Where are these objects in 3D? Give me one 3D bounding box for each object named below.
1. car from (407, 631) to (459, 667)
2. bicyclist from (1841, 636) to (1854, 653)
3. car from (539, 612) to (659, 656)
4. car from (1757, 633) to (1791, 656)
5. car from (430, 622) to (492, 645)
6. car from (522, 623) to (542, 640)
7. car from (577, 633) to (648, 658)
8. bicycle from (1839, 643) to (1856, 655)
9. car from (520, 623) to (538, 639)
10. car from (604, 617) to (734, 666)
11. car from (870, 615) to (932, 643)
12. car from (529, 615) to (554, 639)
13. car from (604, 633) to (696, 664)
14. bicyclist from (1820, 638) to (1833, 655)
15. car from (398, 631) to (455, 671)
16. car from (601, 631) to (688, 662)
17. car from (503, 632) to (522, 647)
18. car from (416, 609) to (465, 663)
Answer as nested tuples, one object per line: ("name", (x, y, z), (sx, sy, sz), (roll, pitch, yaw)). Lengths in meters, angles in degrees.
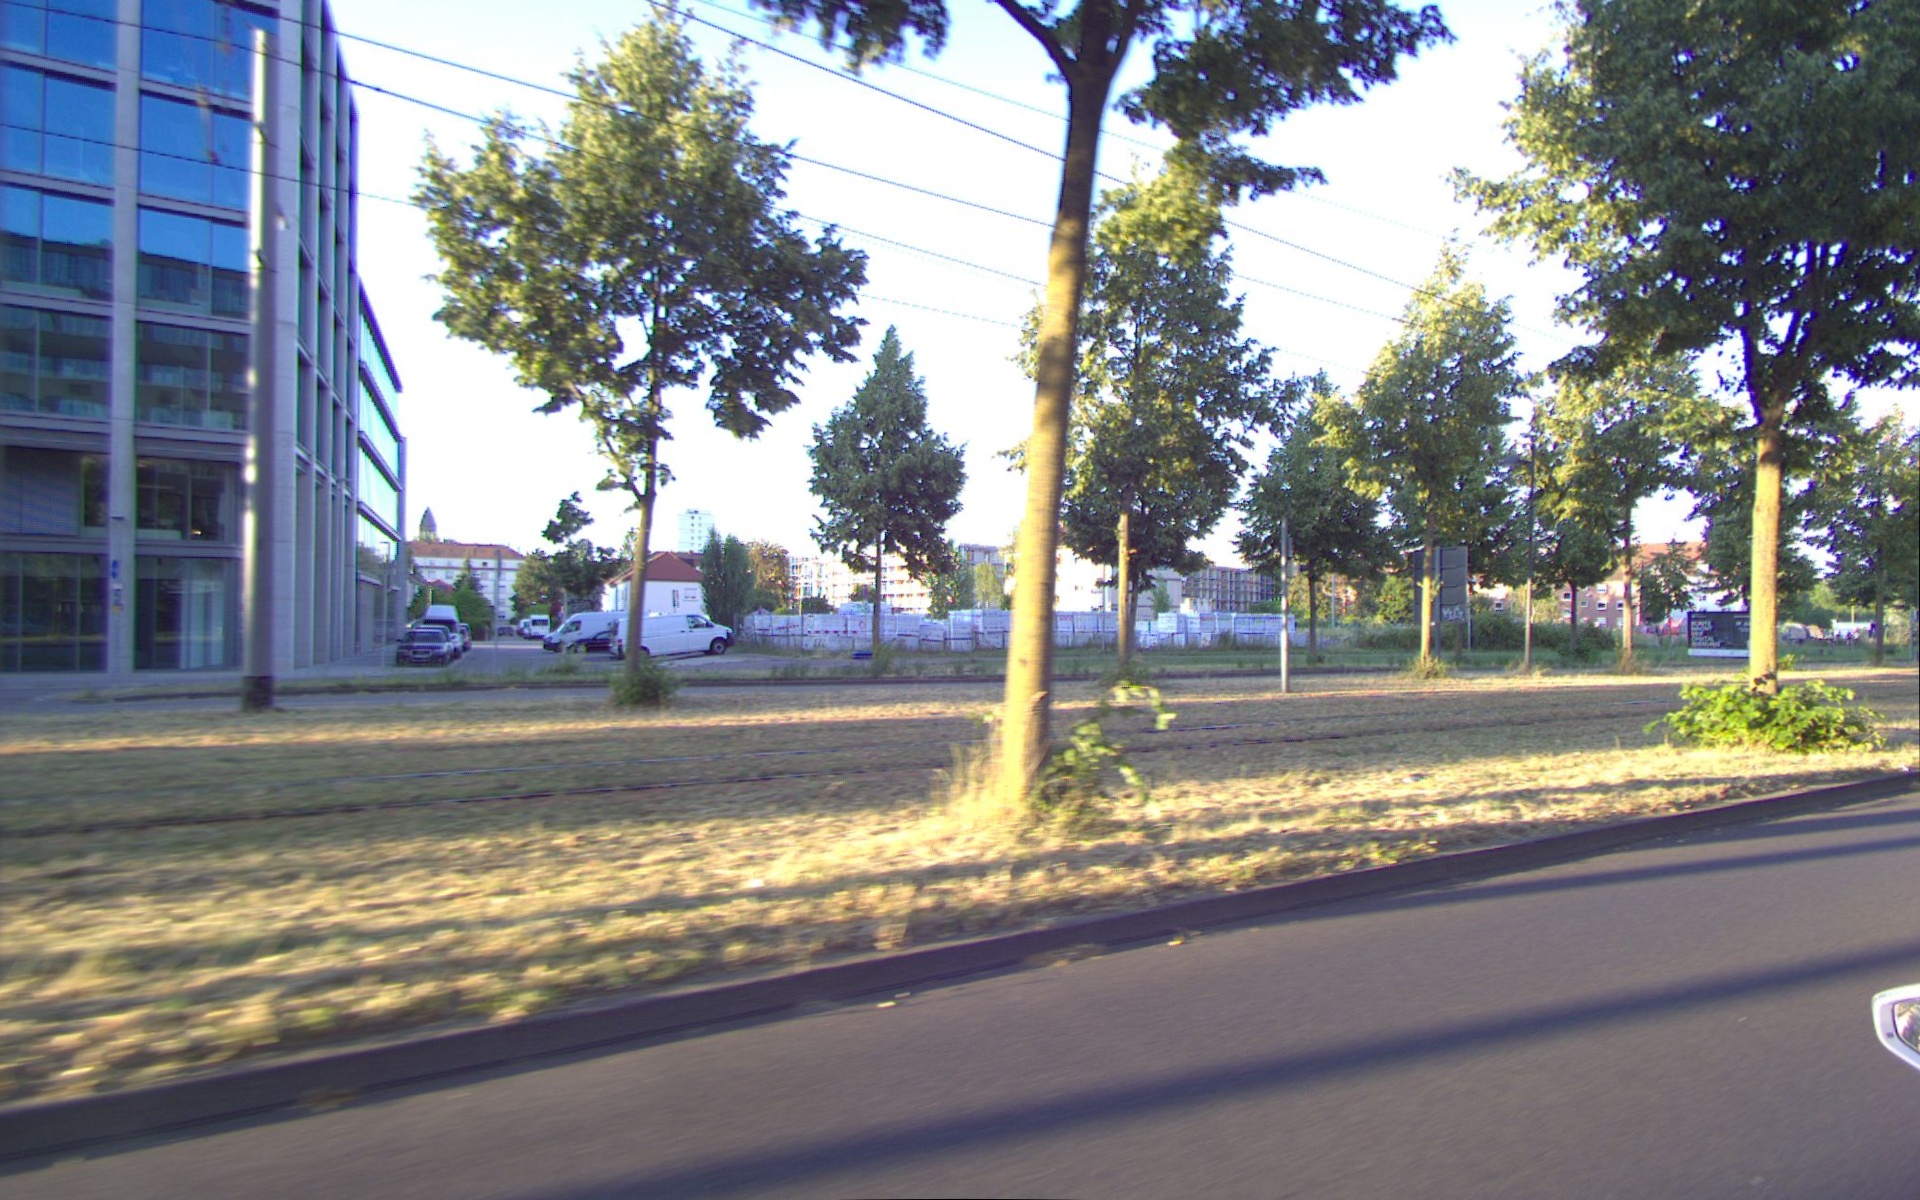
("car", (-23.062, 2.122, 44.100), (1.869, 1.465, 3.974), (1, -2, -26))
("bicyclist", (76.680, 3.817, 86.774), (0.927, 1.475, 0.616), (2, -1, -32))
("car", (-23.986, 2.302, 66.893), (7.227, 2.802, 2.456), (2, -2, -31))
("car", (83.839, 4.537, 103.524), (2.384, 2.254, 5.899), (0, -2, 36))
("car", (-46.277, 3.111, 93.199), (5.011, 2.040, 1.982), (2, -2, -34))
("car", (-46.927, 3.467, 110.163), (1.869, 1.835, 4.033), (1, -2, -23))
("car", (-22.128, 2.884, 63.979), (3.955, 1.530, 1.788), (2, -2, -32))
("bicycle", (76.673, 4.245, 86.759), (2.060, 1.024, 0.616), (2, -2, -33))
("car", (-53.097, 3.799, 123.763), (1.869, 1.835, 4.033), (1, -2, -23))
("car", (-12.621, 1.787, 43.660), (5.024, 2.040, 2.196), (2, -2, -30))
("car", (-4.332, 2.137, 74.477), (4.264, 2.008, 1.788), (2, -2, -32))
("car", (-42.656, 2.764, 102.352), (2.263, 2.383, 6.167), (1, -2, -23))
("car", (-15.017, 2.353, 48.679), (3.953, 1.437, 1.984), (2, -2, -30))
("bicyclist", (74.206, 4.015, 86.040), (0.927, 1.440, 0.616), (2, -1, -32))
("car", (-21.010, 1.988, 39.689), (1.870, 1.465, 3.973), (1, -2, -27))
("car", (-16.199, 2.362, 51.598), (3.953, 1.530, 1.984), (2, -2, -30))
("car", (-58.350, 5.162, 130.980), (1.970, 1.840, 4.358), (1, -2, -20))
("car", (-25.543, 1.735, 49.525), (1.947, 2.500, 5.465), (1, -2, -26))
